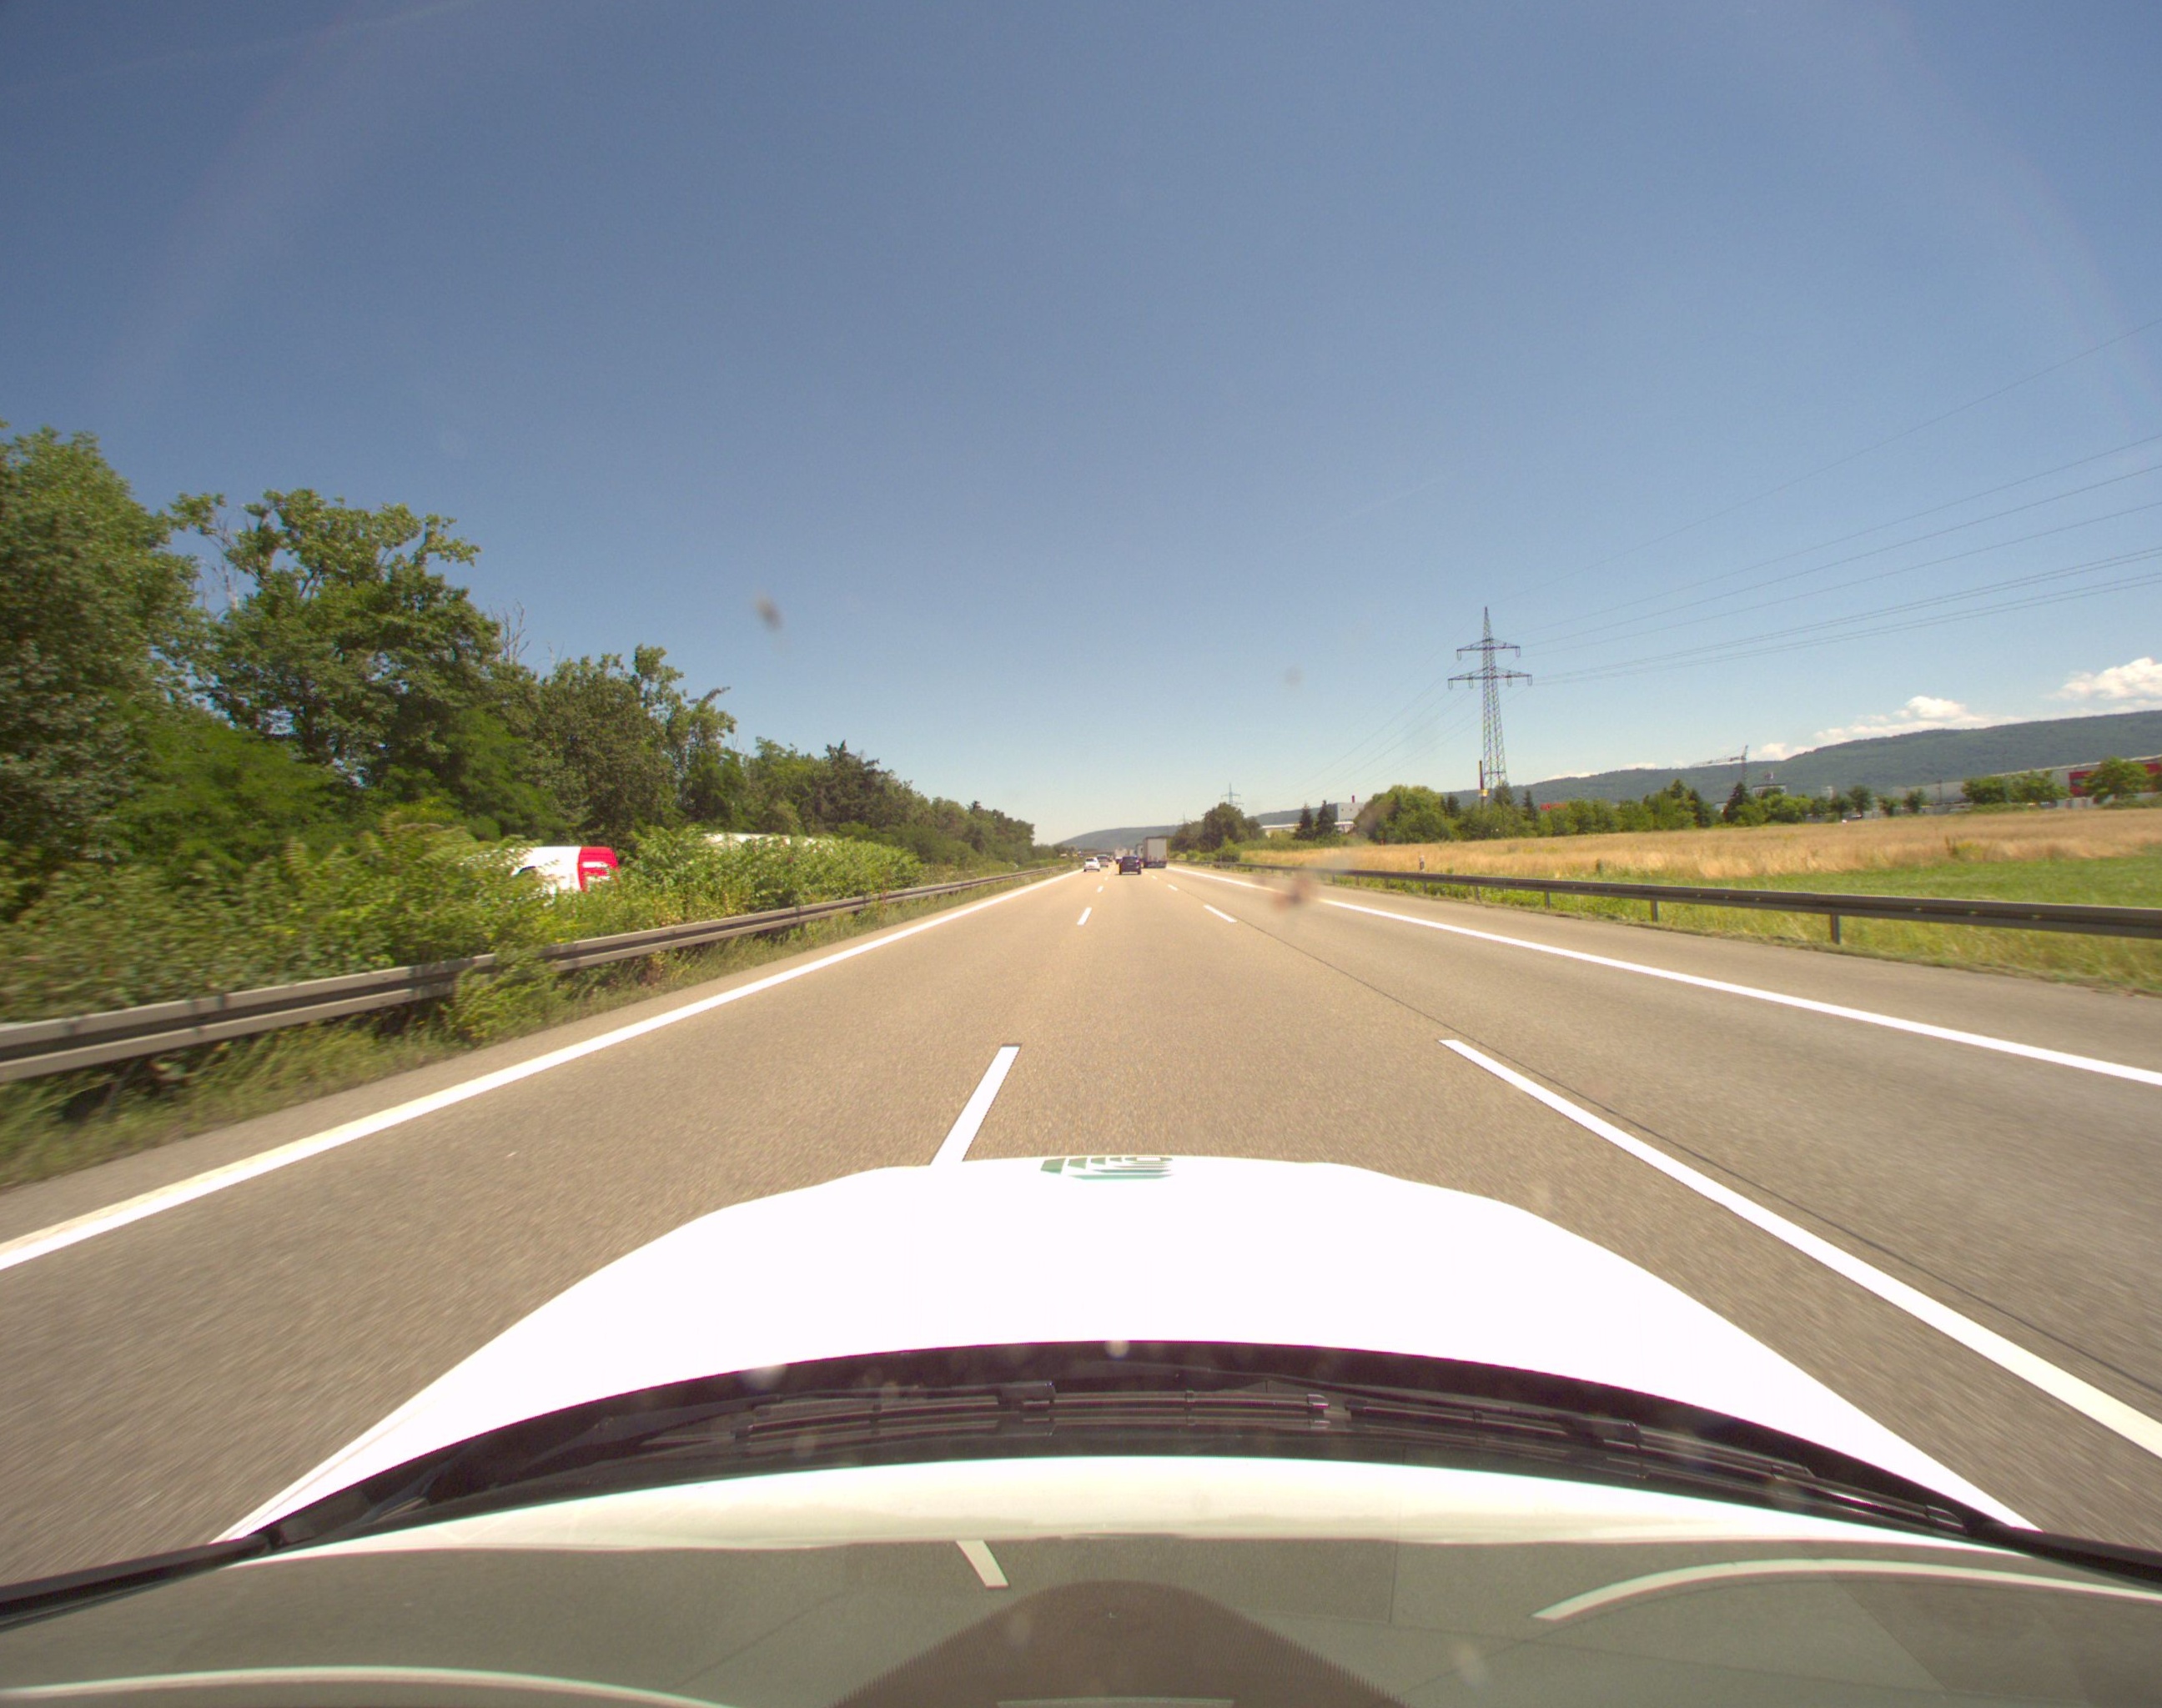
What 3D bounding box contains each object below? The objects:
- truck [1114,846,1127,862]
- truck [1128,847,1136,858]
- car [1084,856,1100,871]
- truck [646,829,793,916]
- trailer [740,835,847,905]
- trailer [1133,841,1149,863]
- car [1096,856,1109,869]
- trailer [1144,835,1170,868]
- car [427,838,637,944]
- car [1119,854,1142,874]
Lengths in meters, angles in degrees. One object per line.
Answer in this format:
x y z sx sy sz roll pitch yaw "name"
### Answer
8.554 -0.005 176.746 2.771 3.373 8.132 -1 -1 3 "truck"
16.321 -0.508 260.568 2.212 3.209 10.391 -3 0 3 "truck"
1.239 0.987 88.372 1.601 1.467 4.002 -3 0 2 "car"
-18.056 0.862 41.593 2.915 3.828 9.280 -3 -1 2 "truck"
-17.666 0.925 50.934 2.915 3.828 9.280 -3 -1 2 "trailer"
12.476 -0.330 170.484 2.777 4.164 13.585 -4 -1 3 "trailer"
3.257 1.210 122.166 1.754 1.850 4.002 -3 0 2 "car"
10.008 -0.282 108.642 2.725 4.106 13.131 -1 0 3 "trailer"
-14.699 0.915 22.283 2.116 2.466 5.088 -3 -1 2 "car"
4.219 0.814 70.297 1.866 1.623 4.006 -2 0 2 "car"
